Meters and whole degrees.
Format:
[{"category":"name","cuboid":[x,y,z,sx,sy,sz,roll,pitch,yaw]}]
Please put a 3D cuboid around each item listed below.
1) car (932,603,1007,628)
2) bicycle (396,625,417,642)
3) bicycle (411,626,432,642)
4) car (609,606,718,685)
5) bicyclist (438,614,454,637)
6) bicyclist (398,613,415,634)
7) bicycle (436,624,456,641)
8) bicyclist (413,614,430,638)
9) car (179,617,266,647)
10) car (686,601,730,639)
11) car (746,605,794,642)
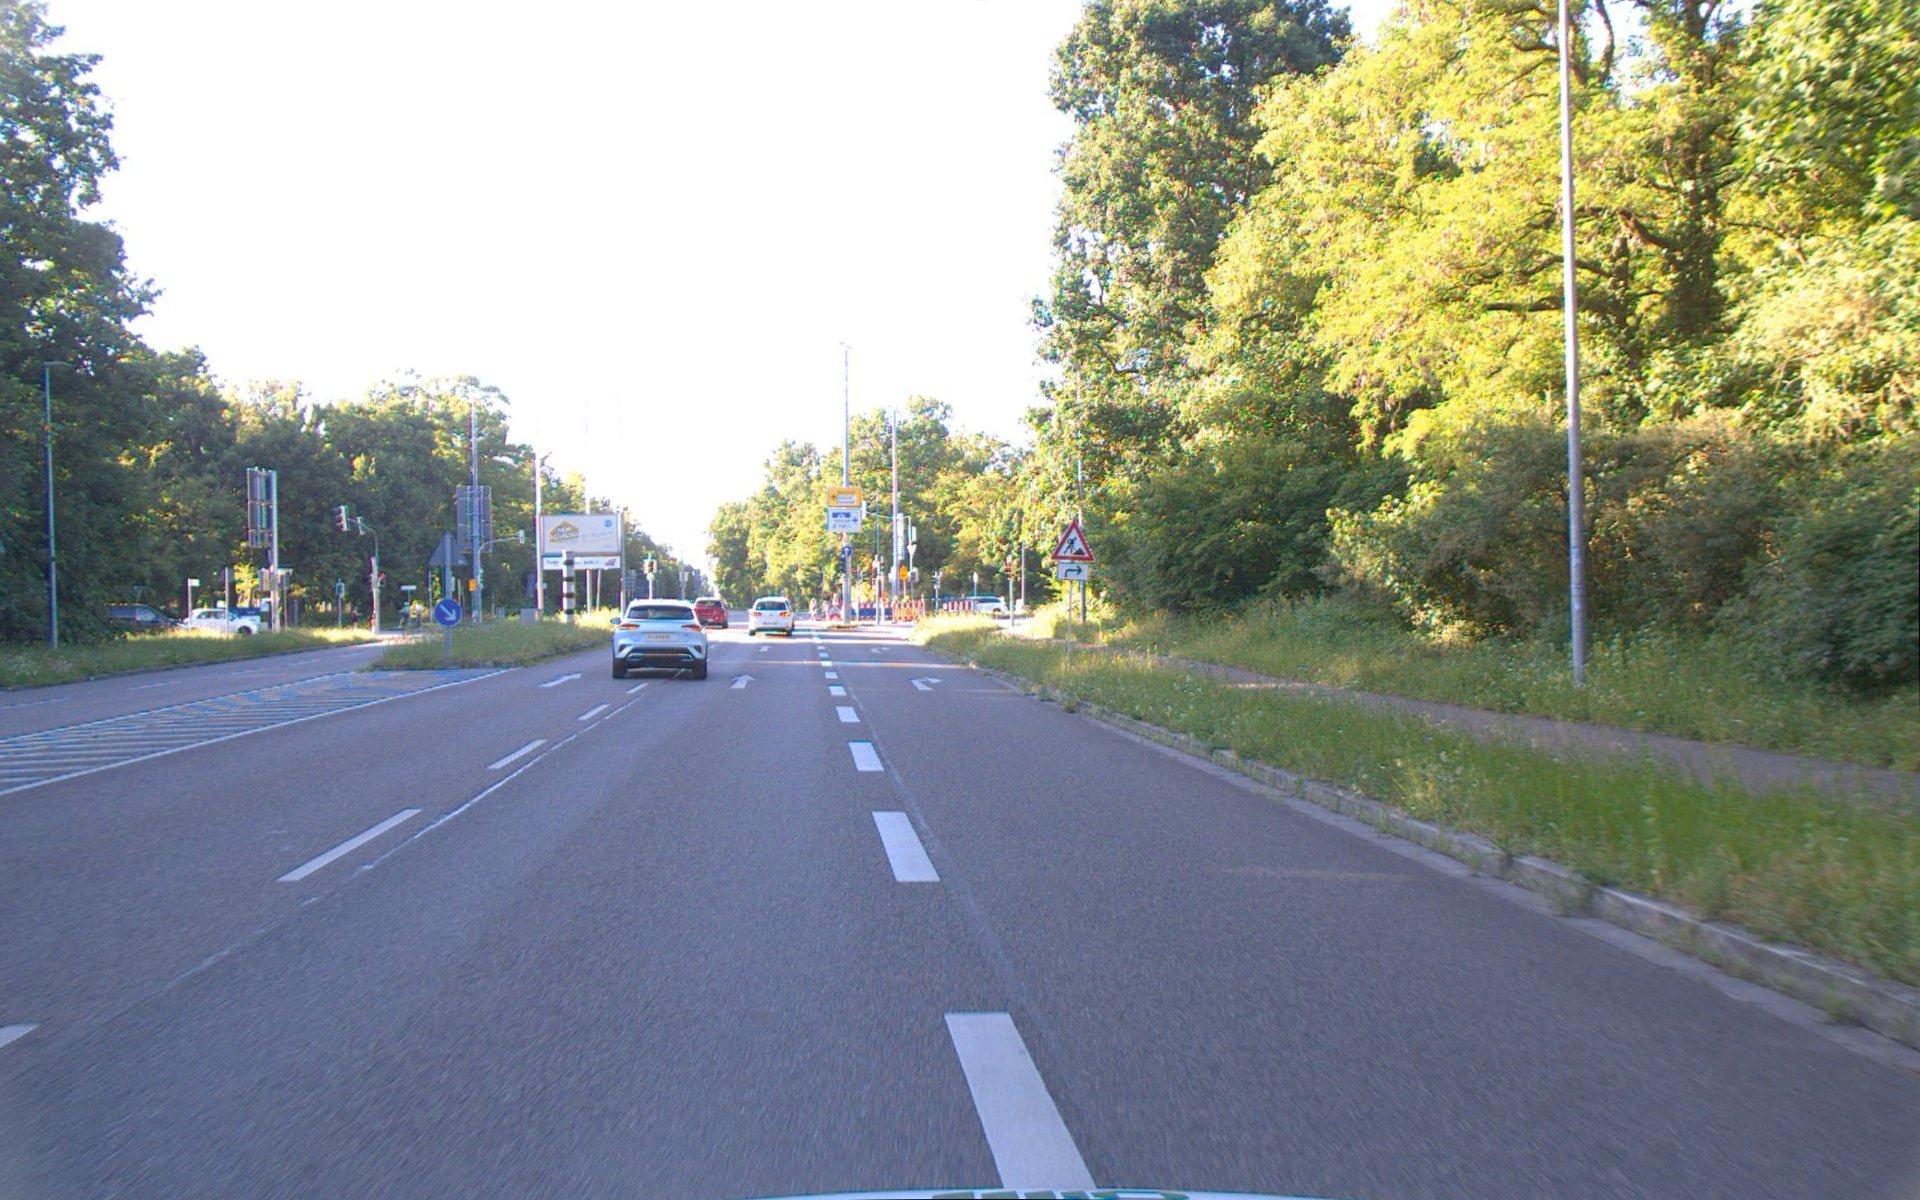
[{"category":"car","cuboid":[0.646,1.052,113.595,4.762,1.608,1.982,-1,0,-28]},{"category":"bicycle","cuboid":[-33.162,2.024,99.170,0.700,0.930,1.910,-1,1,-3]},{"category":"bicycle","cuboid":[-32.268,2.017,99.193,0.700,0.930,1.909,-1,0,-3]},{"category":"car","cuboid":[-5.819,0.853,32.834,1.827,1.469,3.994,0,0,-6]},{"category":"bicyclist","cuboid":[-31.136,1.521,100.164,0.700,1.379,0.990,-1,0,-3]},{"category":"bicyclist","cuboid":[-33.173,1.421,99.176,0.700,1.213,0.990,-1,0,-3]},{"category":"bicycle","cuboid":[-31.131,1.963,100.164,0.700,0.930,1.909,-1,0,-3]},{"category":"bicyclist","cuboid":[-32.277,1.526,99.163,0.696,1.414,0.990,-1,0,-3]},{"category":"car","cuboid":[-36.700,1.581,82.343,3.750,1.414,1.907,-1,0,-32]},{"category":"car","cuboid":[-11.936,0.919,78.196,1.957,1.714,3.990,-1,0,-10]},{"category":"car","cuboid":[-7.796,0.946,67.782,1.903,1.439,3.994,-1,0,-7]}]
